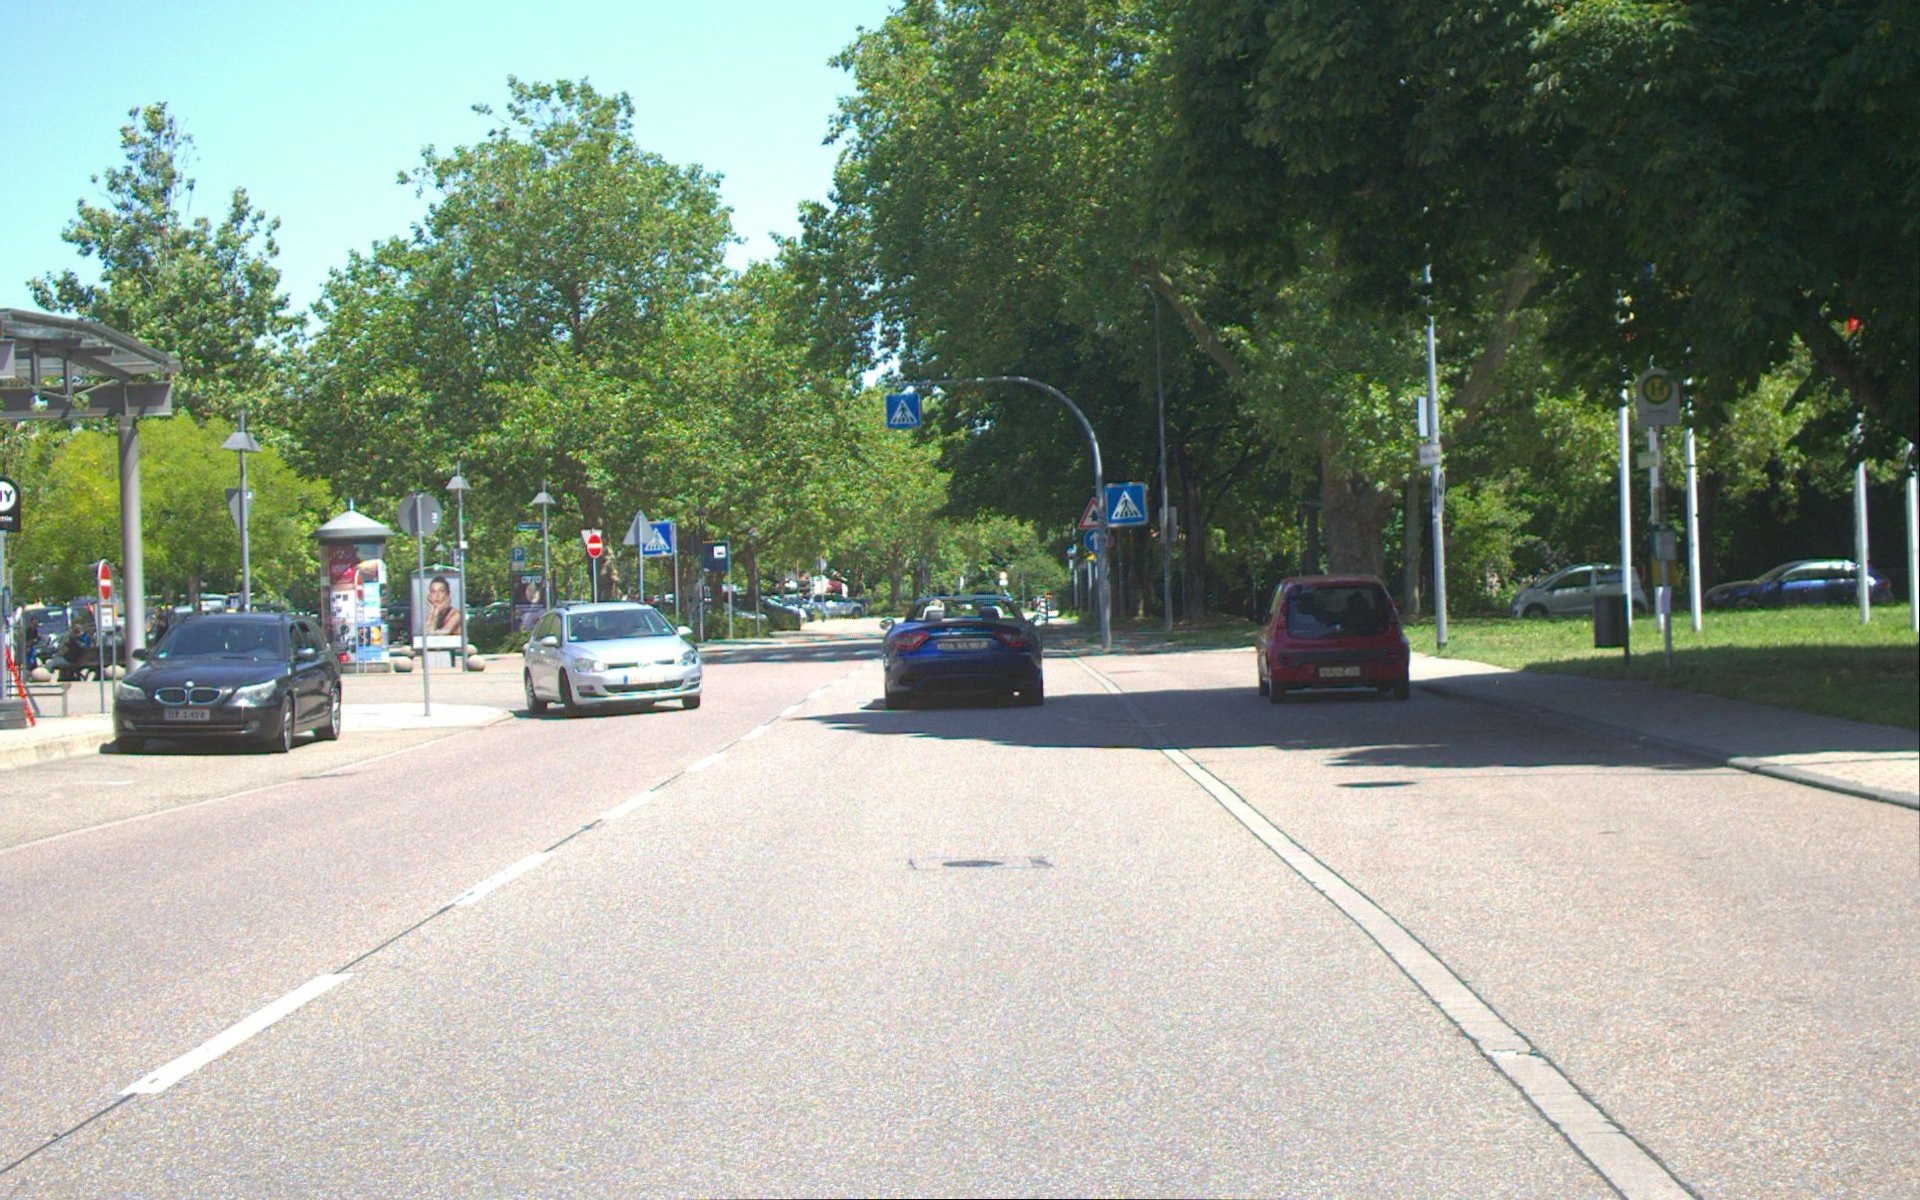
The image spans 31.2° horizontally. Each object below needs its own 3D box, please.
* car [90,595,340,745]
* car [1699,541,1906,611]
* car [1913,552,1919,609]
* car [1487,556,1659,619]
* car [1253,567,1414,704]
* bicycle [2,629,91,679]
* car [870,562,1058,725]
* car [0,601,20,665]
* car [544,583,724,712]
[{"bbox_3d":[-8.094,0.719,37.763,1.718,1.473,4.786,-2,0,-1],"label":"car"},{"bbox_3d":[21.494,-0.609,87.840,4.824,1.602,2.000,-2,0,5],"label":"car"},{"bbox_3d":[26.584,-0.554,87.924,3.881,1.449,2.000,-1,-1,2],"label":"car"},{"bbox_3d":[15.754,-0.315,88.454,4.105,1.461,2.000,-2,0,4],"label":"car"},{"bbox_3d":[4.346,0.392,40.379,1.719,1.473,3.705,-2,0,5],"label":"car"},{"bbox_3d":[-19.692,1.157,74.103,1.792,1.027,0.489,-1,0,-23],"label":"bicycle"},{"bbox_3d":[0.101,0.509,41.746,2.125,1.842,4.048,-1,0,2],"label":"car"},{"bbox_3d":[-30.398,1.084,105.389,1.751,1.910,4.776,-2,2,0],"label":"car"},{"bbox_3d":[-4.258,0.590,45.422,1.815,1.439,4.158,-5,1,1],"label":"car"}]
